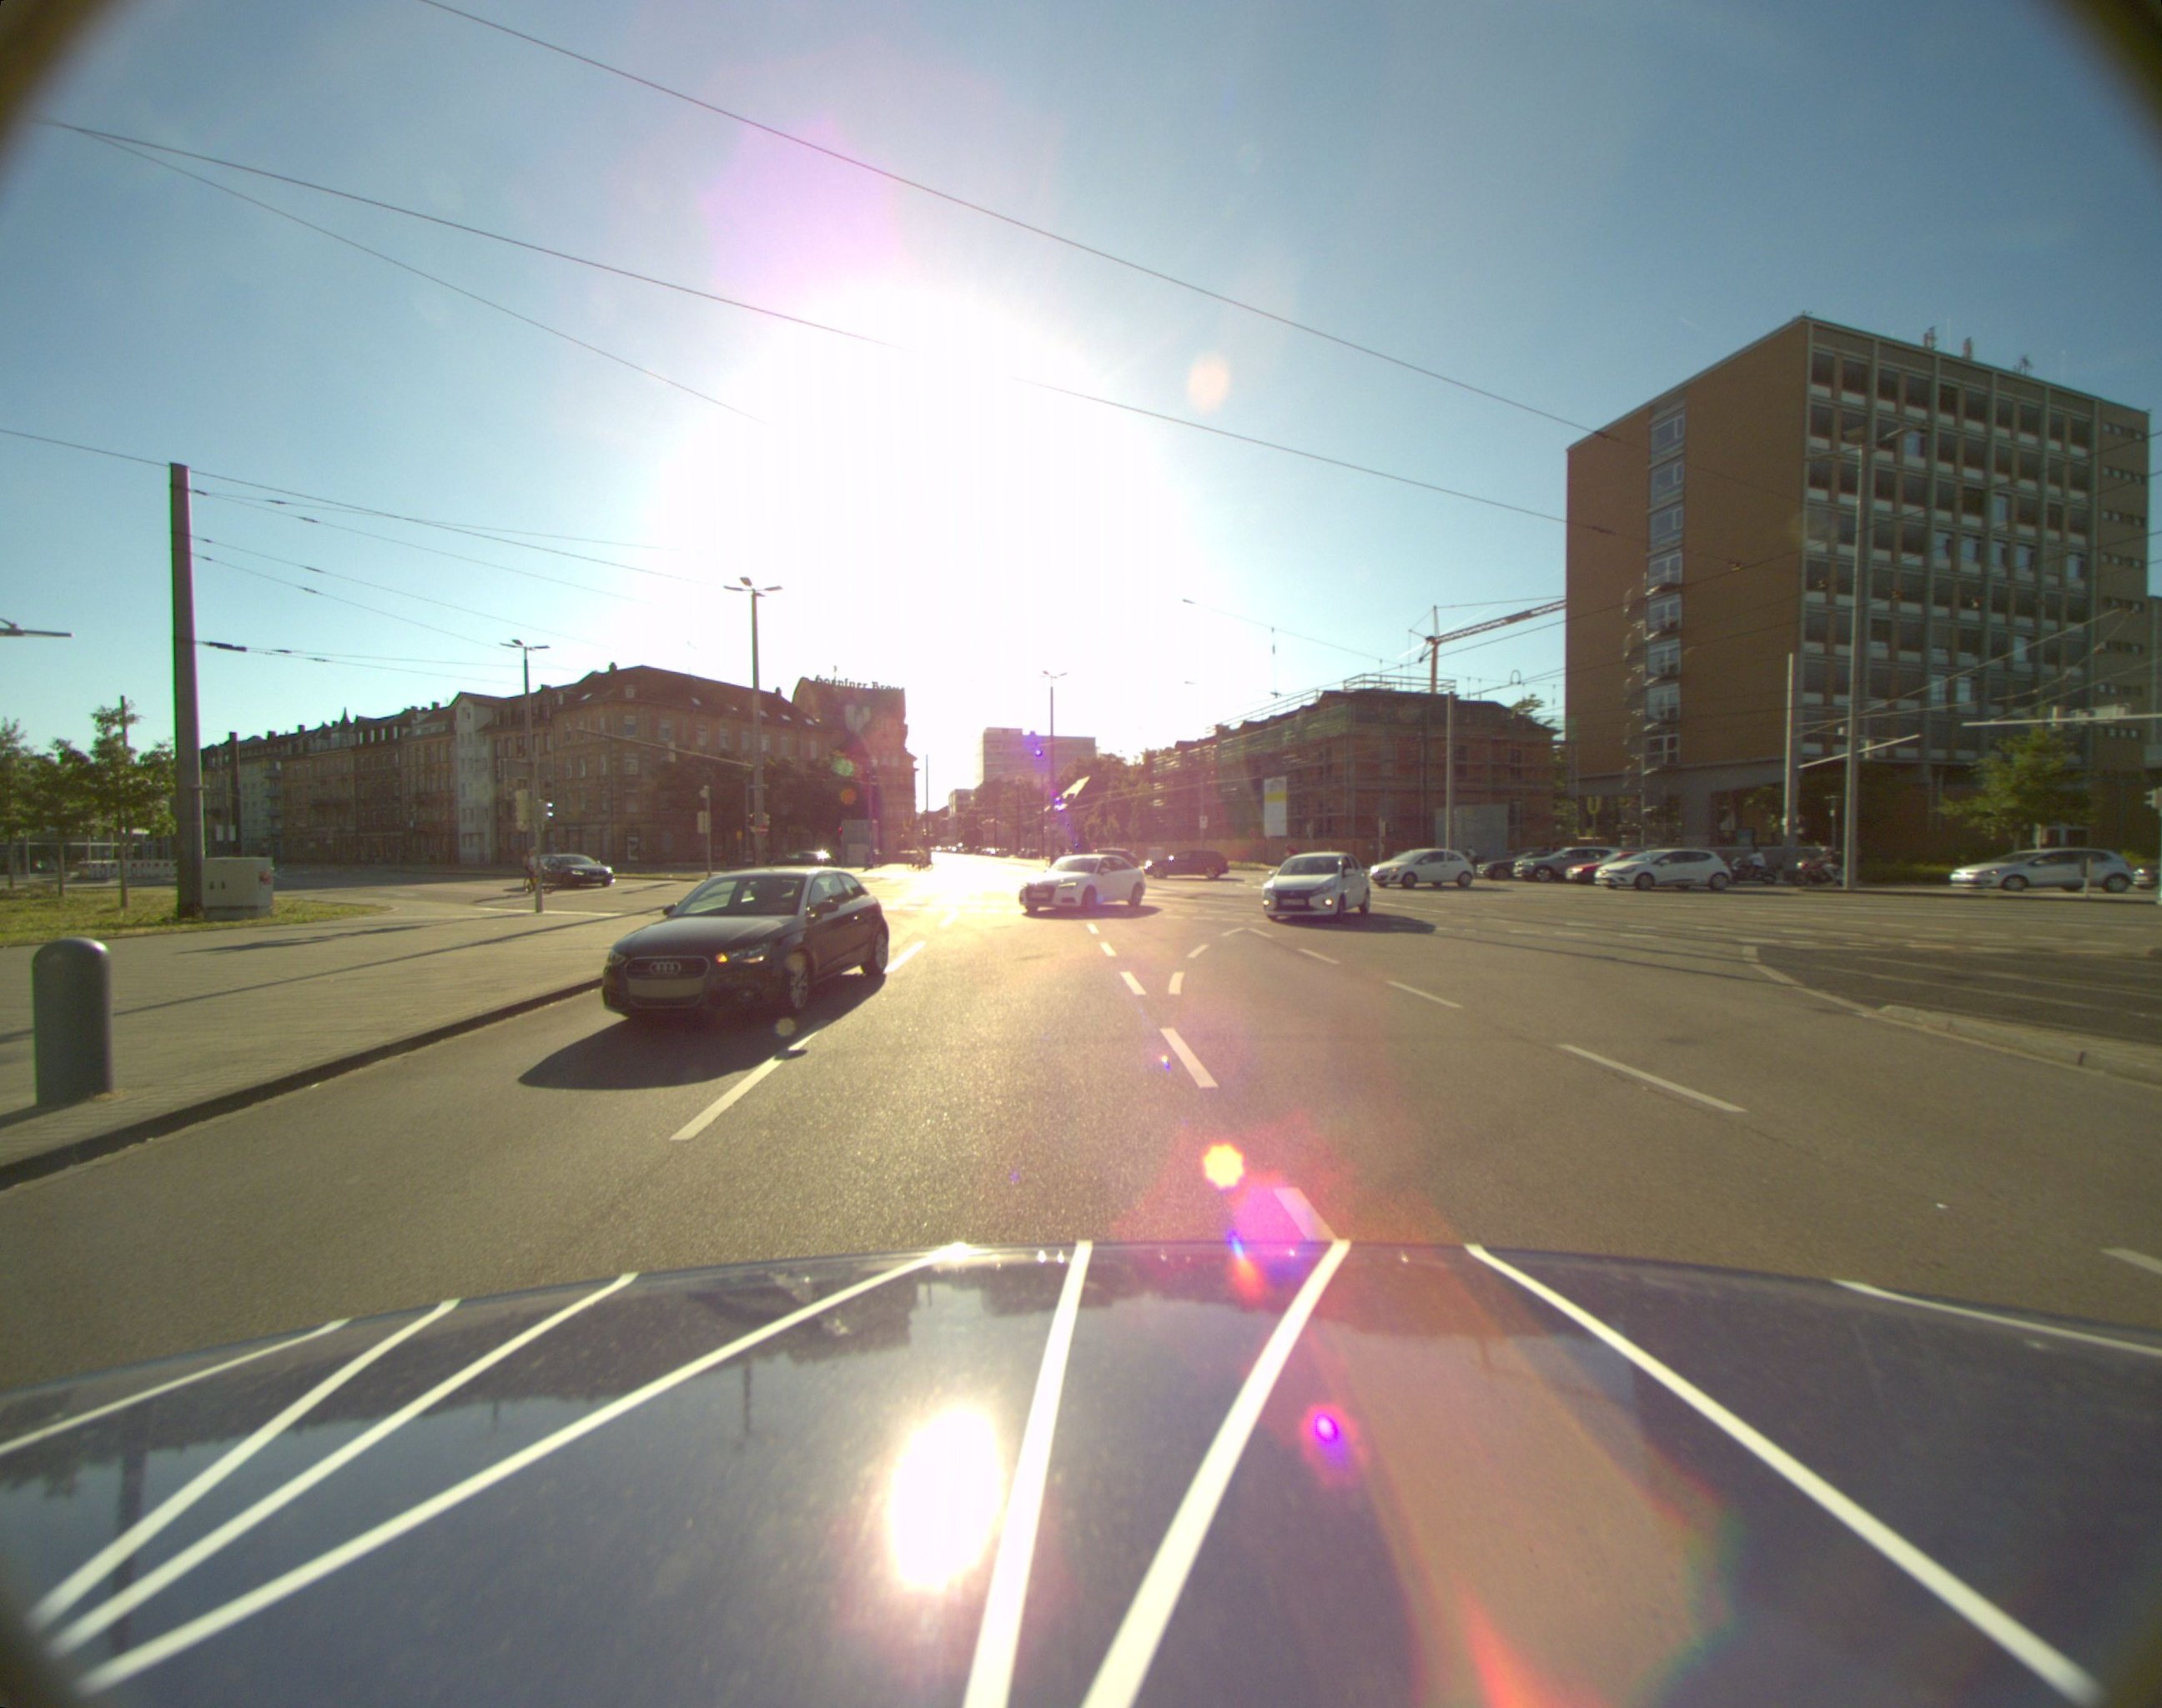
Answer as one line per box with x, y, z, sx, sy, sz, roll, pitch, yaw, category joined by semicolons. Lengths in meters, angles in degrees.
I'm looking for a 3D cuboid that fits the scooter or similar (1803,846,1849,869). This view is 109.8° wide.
42.374;0.203;43.233;0.802;1.239;1.824;2;-2;-45;scooter or similar

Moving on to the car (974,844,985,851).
-23.501;-1.400;175.709;1.757;1.455;4.014;-1;-1;-16;car

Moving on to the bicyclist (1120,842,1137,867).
3.203;0.021;51.214;0.972;1.651;0.650;-1;-2;40;bicyclist

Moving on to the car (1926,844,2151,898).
31.628;0.523;25.281;4.275;1.667;2.002;0;1;14;car

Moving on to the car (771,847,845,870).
-18.263;0.314;50.804;4.642;1.484;1.821;0;1;23;car

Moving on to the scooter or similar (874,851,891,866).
-16.097;0.365;61.568;0.732;1.194;1.441;0;0;-42;scooter or similar

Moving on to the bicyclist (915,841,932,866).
-11.095;-0.034;53.515;0.974;1.685;0.768;0;0;2;bicyclist

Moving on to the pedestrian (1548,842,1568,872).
27.685;0.159;44.108;0.732;1.730;0.622;0;3;7;pedestrian

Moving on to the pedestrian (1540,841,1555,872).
26.990;0.140;43.946;0.620;1.730;0.667;2;4;39;pedestrian

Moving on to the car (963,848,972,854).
-29.250;-0.732;195.682;1.757;1.596;4.014;-1;-1;-16;car

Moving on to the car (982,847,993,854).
-19.892;-0.741;162.023;1.757;1.455;4.014;-1;-1;-16;car

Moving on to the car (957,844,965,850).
-32.608;-1.788;206.637;1.757;1.455;4.014;-1;-1;-16;car

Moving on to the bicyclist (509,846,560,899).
-21.360;0.690;29.719;1.142;2.003;1.035;0;3;17;bicyclist

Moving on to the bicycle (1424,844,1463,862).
20.157;-0.059;42.310;1.875;0.965;0.713;1;5;21;bicycle

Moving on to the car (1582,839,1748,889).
20.515;0.331;26.845;4.279;1.667;2.000;0;1;1;car

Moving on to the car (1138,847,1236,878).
5.342;0.393;38.261;4.644;1.484;1.819;0;2;17;car

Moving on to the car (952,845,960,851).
-36.588;-1.732;222.940;1.757;1.455;4.014;-1;-1;-16;car

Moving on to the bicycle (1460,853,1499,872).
22.789;0.497;43.442;1.874;0.965;0.713;3;5;35;bicycle

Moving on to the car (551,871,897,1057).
-3.438;0.965;8.225;1.694;1.380;3.832;-1;1;4;car

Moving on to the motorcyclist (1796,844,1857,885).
30.896;0.448;31.537;1.451;1.657;1.120;0;-1;18;motorcyclist

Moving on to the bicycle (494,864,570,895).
-21.487;0.990;29.766;2.525;1.117;1.035;0;3;17;bicycle

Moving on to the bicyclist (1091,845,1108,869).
1.211;0.231;50.071;0.973;1.559;0.649;0;-1;12;bicyclist

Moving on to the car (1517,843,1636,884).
21.758;0.412;33.527;3.992;1.598;2.001;-1;2;16;car

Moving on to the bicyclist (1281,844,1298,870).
14.130;0.167;51.416;1.014;1.699;0.694;1;5;22;bicyclist

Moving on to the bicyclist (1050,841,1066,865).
-1.635;-0.097;54.102;0.972;1.685;0.649;1;0;21;bicyclist

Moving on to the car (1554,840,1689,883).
21.802;0.325;30.795;3.993;1.673;2.002;0;-1;11;car

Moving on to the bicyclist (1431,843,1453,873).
20.133;0.205;42.342;1.014;1.579;0.694;1;5;21;bicyclist

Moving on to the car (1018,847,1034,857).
-9.132;-0.292;125.435;1.757;1.455;4.014;-1;-1;-16;car

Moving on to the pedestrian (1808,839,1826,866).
45.313;-0.075;46.780;0.504;1.625;0.574;0;-1;4;pedestrian

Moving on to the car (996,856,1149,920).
-0.075;0.762;19.383;1.822;1.380;4.466;0;1;31;car

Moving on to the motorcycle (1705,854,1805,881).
30.630;0.633;34.589;3.226;1.188;1.120;0;-1;18;motorcycle

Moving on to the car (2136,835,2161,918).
24.381;0.466;14.705;4.456;1.724;1.943;0;1;12;car

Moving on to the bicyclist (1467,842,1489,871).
22.725;0.124;43.474;1.014;1.579;0.695;3;6;35;bicyclist

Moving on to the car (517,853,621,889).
-22.599;0.714;33.542;3.989;1.445;2.003;0;1;26;car

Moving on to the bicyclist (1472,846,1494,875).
23.532;0.367;44.472;1.014;1.579;0.695;3;6;39;bicyclist

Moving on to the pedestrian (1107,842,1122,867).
2.490;0.063;56.485;0.817;1.837;0.693;-1;-2;43;pedestrian

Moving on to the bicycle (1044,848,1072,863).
-1.655;0.115;54.118;1.902;1.021;0.649;0;0;21;bicycle

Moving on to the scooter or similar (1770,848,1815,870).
40.696;0.289;43.477;0.801;1.239;1.704;1;-2;-31;scooter or similar

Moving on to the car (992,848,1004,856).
-16.290;-0.330;149.391;1.757;1.455;4.014;-1;-1;-16;car

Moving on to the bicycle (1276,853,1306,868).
14.206;0.430;51.407;1.875;0.965;0.713;1;5;21;bicycle

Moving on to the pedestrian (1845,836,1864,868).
39.841;-0.121;39.141;0.504;1.625;0.428;0;-1;4;pedestrian

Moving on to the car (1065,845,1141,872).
1.266;0.263;43.159;4.011;1.456;1.758;0;2;15;car

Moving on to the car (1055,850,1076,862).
-2.084;0.255;101.562;1.757;1.455;4.014;-1;-1;-16;car

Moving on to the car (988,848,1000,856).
-17.718;-0.420;154.300;1.757;1.455;4.014;-1;-1;-16;car

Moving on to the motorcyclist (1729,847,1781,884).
30.664;0.542;34.608;1.451;1.657;1.120;0;-1;18;motorcyclist

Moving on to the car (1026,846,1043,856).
-7.355;-0.425;119.829;1.757;1.455;4.014;-1;-1;-16;car

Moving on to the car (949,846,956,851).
-38.606;-1.586;228.301;1.757;1.455;4.014;-1;-1;-16;car

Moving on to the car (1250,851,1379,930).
5.448;0.725;17.444;1.716;1.484;3.877;2;3;35;car

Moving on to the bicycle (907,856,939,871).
-11.119;0.685;53.524;2.104;1.021;0.768;0;0;2;bicycle

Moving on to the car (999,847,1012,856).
-14.277;-0.460;144.106;1.757;1.455;4.014;-1;-1;-16;car

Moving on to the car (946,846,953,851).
-41.405;-1.749;238.647;1.757;1.455;4.014;-1;-1;-16;car

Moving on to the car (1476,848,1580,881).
21.607;0.494;36.905;4.011;1.455;1.758;-1;1;14;car

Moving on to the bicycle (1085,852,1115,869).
1.262;0.433;50.057;1.899;1.116;0.649;0;-1;12;bicycle

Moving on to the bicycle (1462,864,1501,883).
23.488;1.152;44.578;1.874;0.965;0.713;3;6;39;bicycle

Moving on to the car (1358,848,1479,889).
12.891;0.507;29.146;3.916;1.456;1.782;0;2;-11;car

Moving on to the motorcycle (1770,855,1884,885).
30.890;0.658;31.533;3.226;1.188;1.120;0;-1;18;motorcycle
